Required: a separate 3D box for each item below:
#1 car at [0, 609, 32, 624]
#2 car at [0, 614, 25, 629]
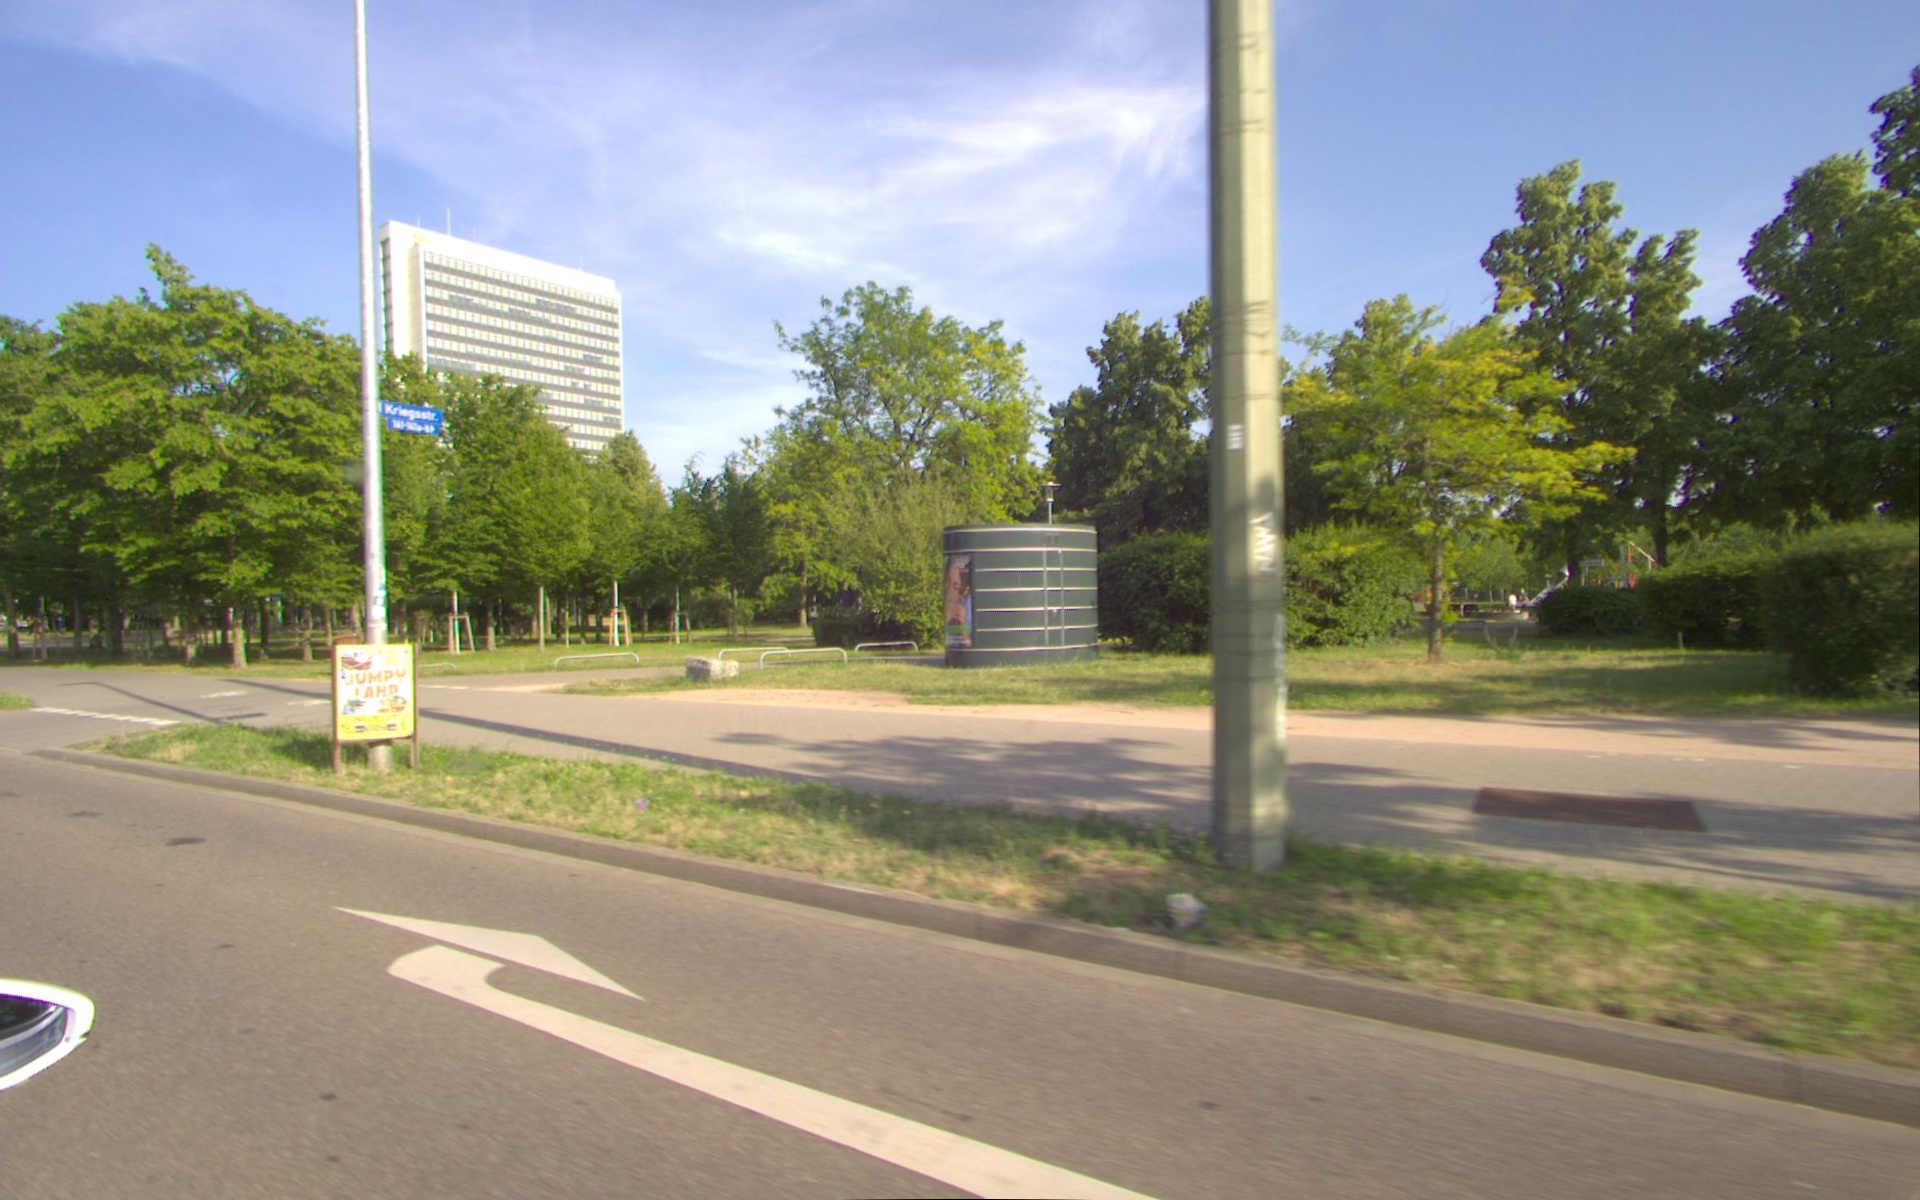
[{"bbox_3d":[-110.950,1.907,116.753,3.959,1.673,1.981,-1,1,-44],"label":"car"},{"bbox_3d":[-107.454,2.429,111.888,1.961,1.673,3.999,-1,0,6],"label":"car"}]
